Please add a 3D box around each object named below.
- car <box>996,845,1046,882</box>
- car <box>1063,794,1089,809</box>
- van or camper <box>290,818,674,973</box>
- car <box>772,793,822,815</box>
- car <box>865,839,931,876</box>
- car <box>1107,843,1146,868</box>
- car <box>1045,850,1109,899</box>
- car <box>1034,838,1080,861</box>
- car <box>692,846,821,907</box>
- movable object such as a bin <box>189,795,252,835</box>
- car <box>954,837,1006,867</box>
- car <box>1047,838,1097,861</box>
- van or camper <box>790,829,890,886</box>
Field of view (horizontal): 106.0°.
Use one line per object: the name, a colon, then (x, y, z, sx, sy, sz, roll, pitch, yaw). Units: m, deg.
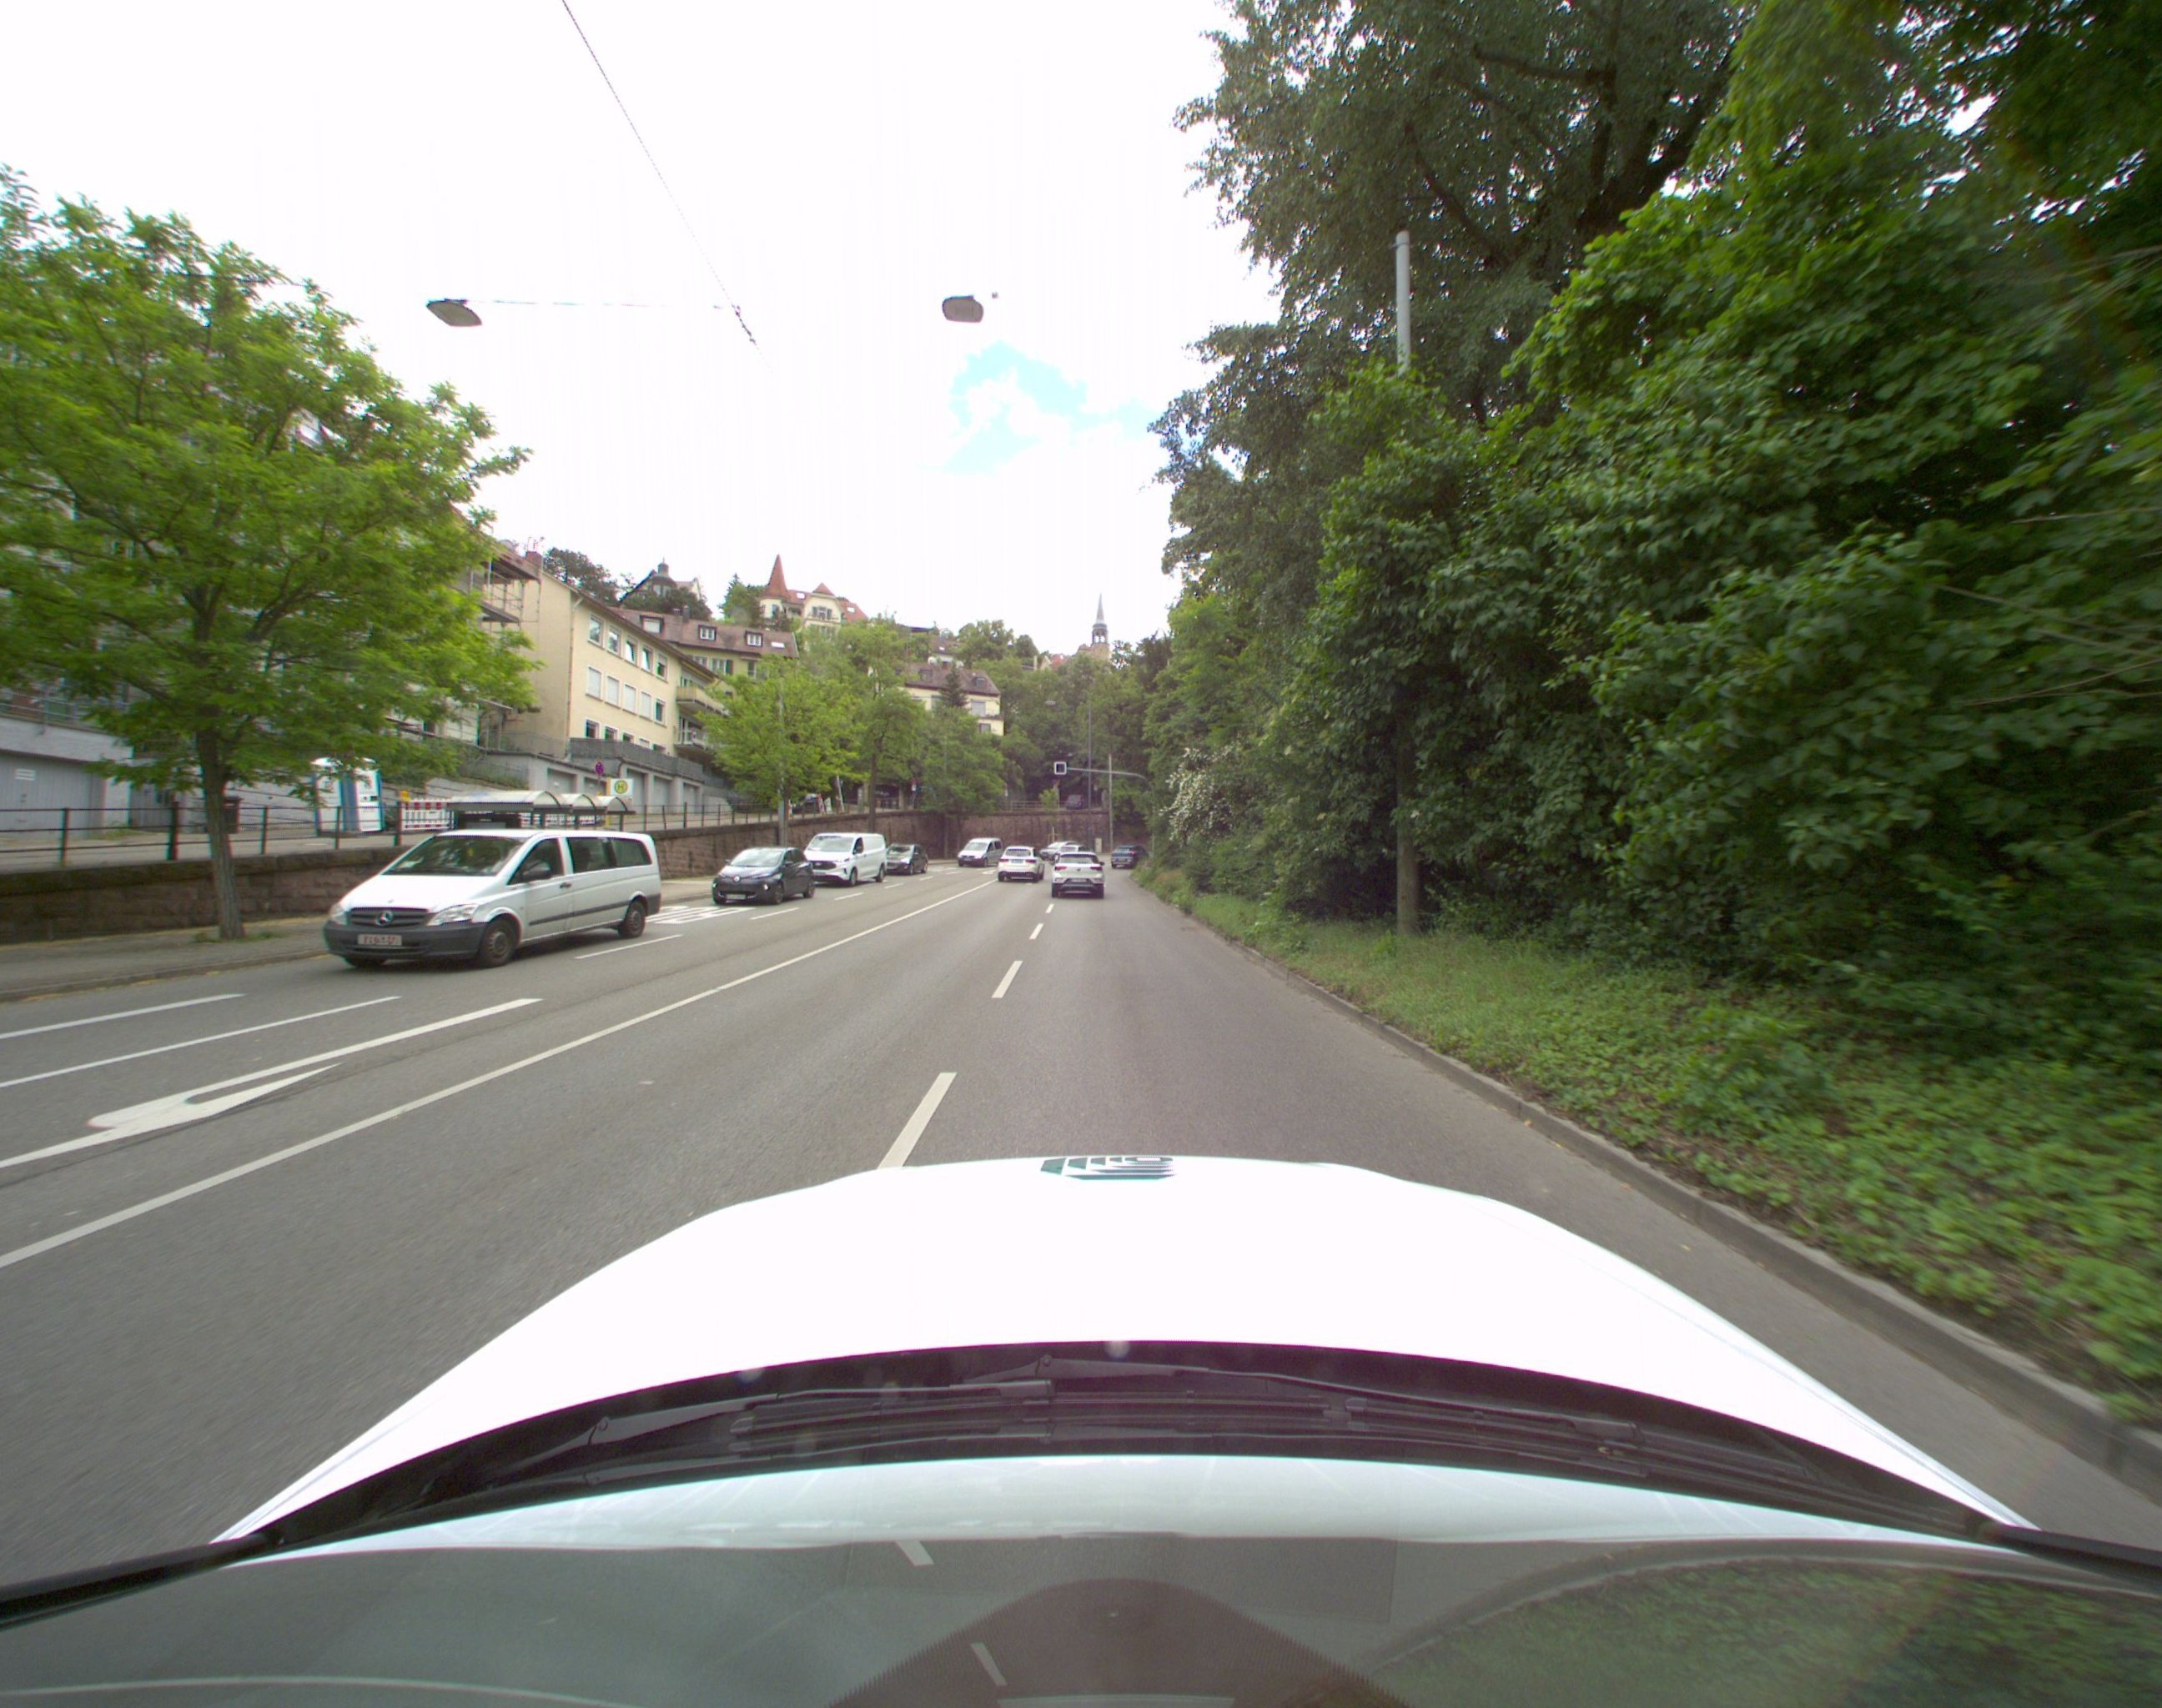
car: (-2.777, 0.429, 38.788, 1.870, 1.652, 4.343, 1, 0, 2)
car: (-0.487, -5.484, 85.490, 1.981, 1.485, 4.013, 0, 4, 10)
van or camper: (-8.728, 0.502, 12.750, 1.987, 1.895, 5.455, 0, 0, 0)
car: (-19.260, -3.385, 55.422, 1.541, 1.279, 3.611, -2, 0, 11)
car: (-8.959, 0.132, 40.318, 1.985, 1.617, 4.334, 3, 2, 3)
car: (3.183, 0.096, 56.084, 1.847, 1.632, 3.974, -3, -1, 14)
car: (-0.209, 0.648, 28.483, 1.862, 1.556, 3.886, 1, 0, -6)
car: (-1.848, -0.353, 64.012, 1.928, 1.693, 4.310, 2, 2, 24)
car: (-8.974, 0.561, 22.930, 1.987, 1.520, 3.991, 1, 0, 0)
movable object such as a bin: (-23.470, -1.051, 22.229, 0.804, 1.042, 0.837, -1, 0, -5)
car: (-6.441, -0.163, 52.315, 1.932, 1.798, 4.301, 2, 1, 12)
car: (-0.586, -0.314, 56.896, 2.230, 1.519, 4.327, -1, 0, 17)
van or camper: (-9.134, 0.109, 31.463, 1.986, 2.013, 5.565, 0, 0, 2)
